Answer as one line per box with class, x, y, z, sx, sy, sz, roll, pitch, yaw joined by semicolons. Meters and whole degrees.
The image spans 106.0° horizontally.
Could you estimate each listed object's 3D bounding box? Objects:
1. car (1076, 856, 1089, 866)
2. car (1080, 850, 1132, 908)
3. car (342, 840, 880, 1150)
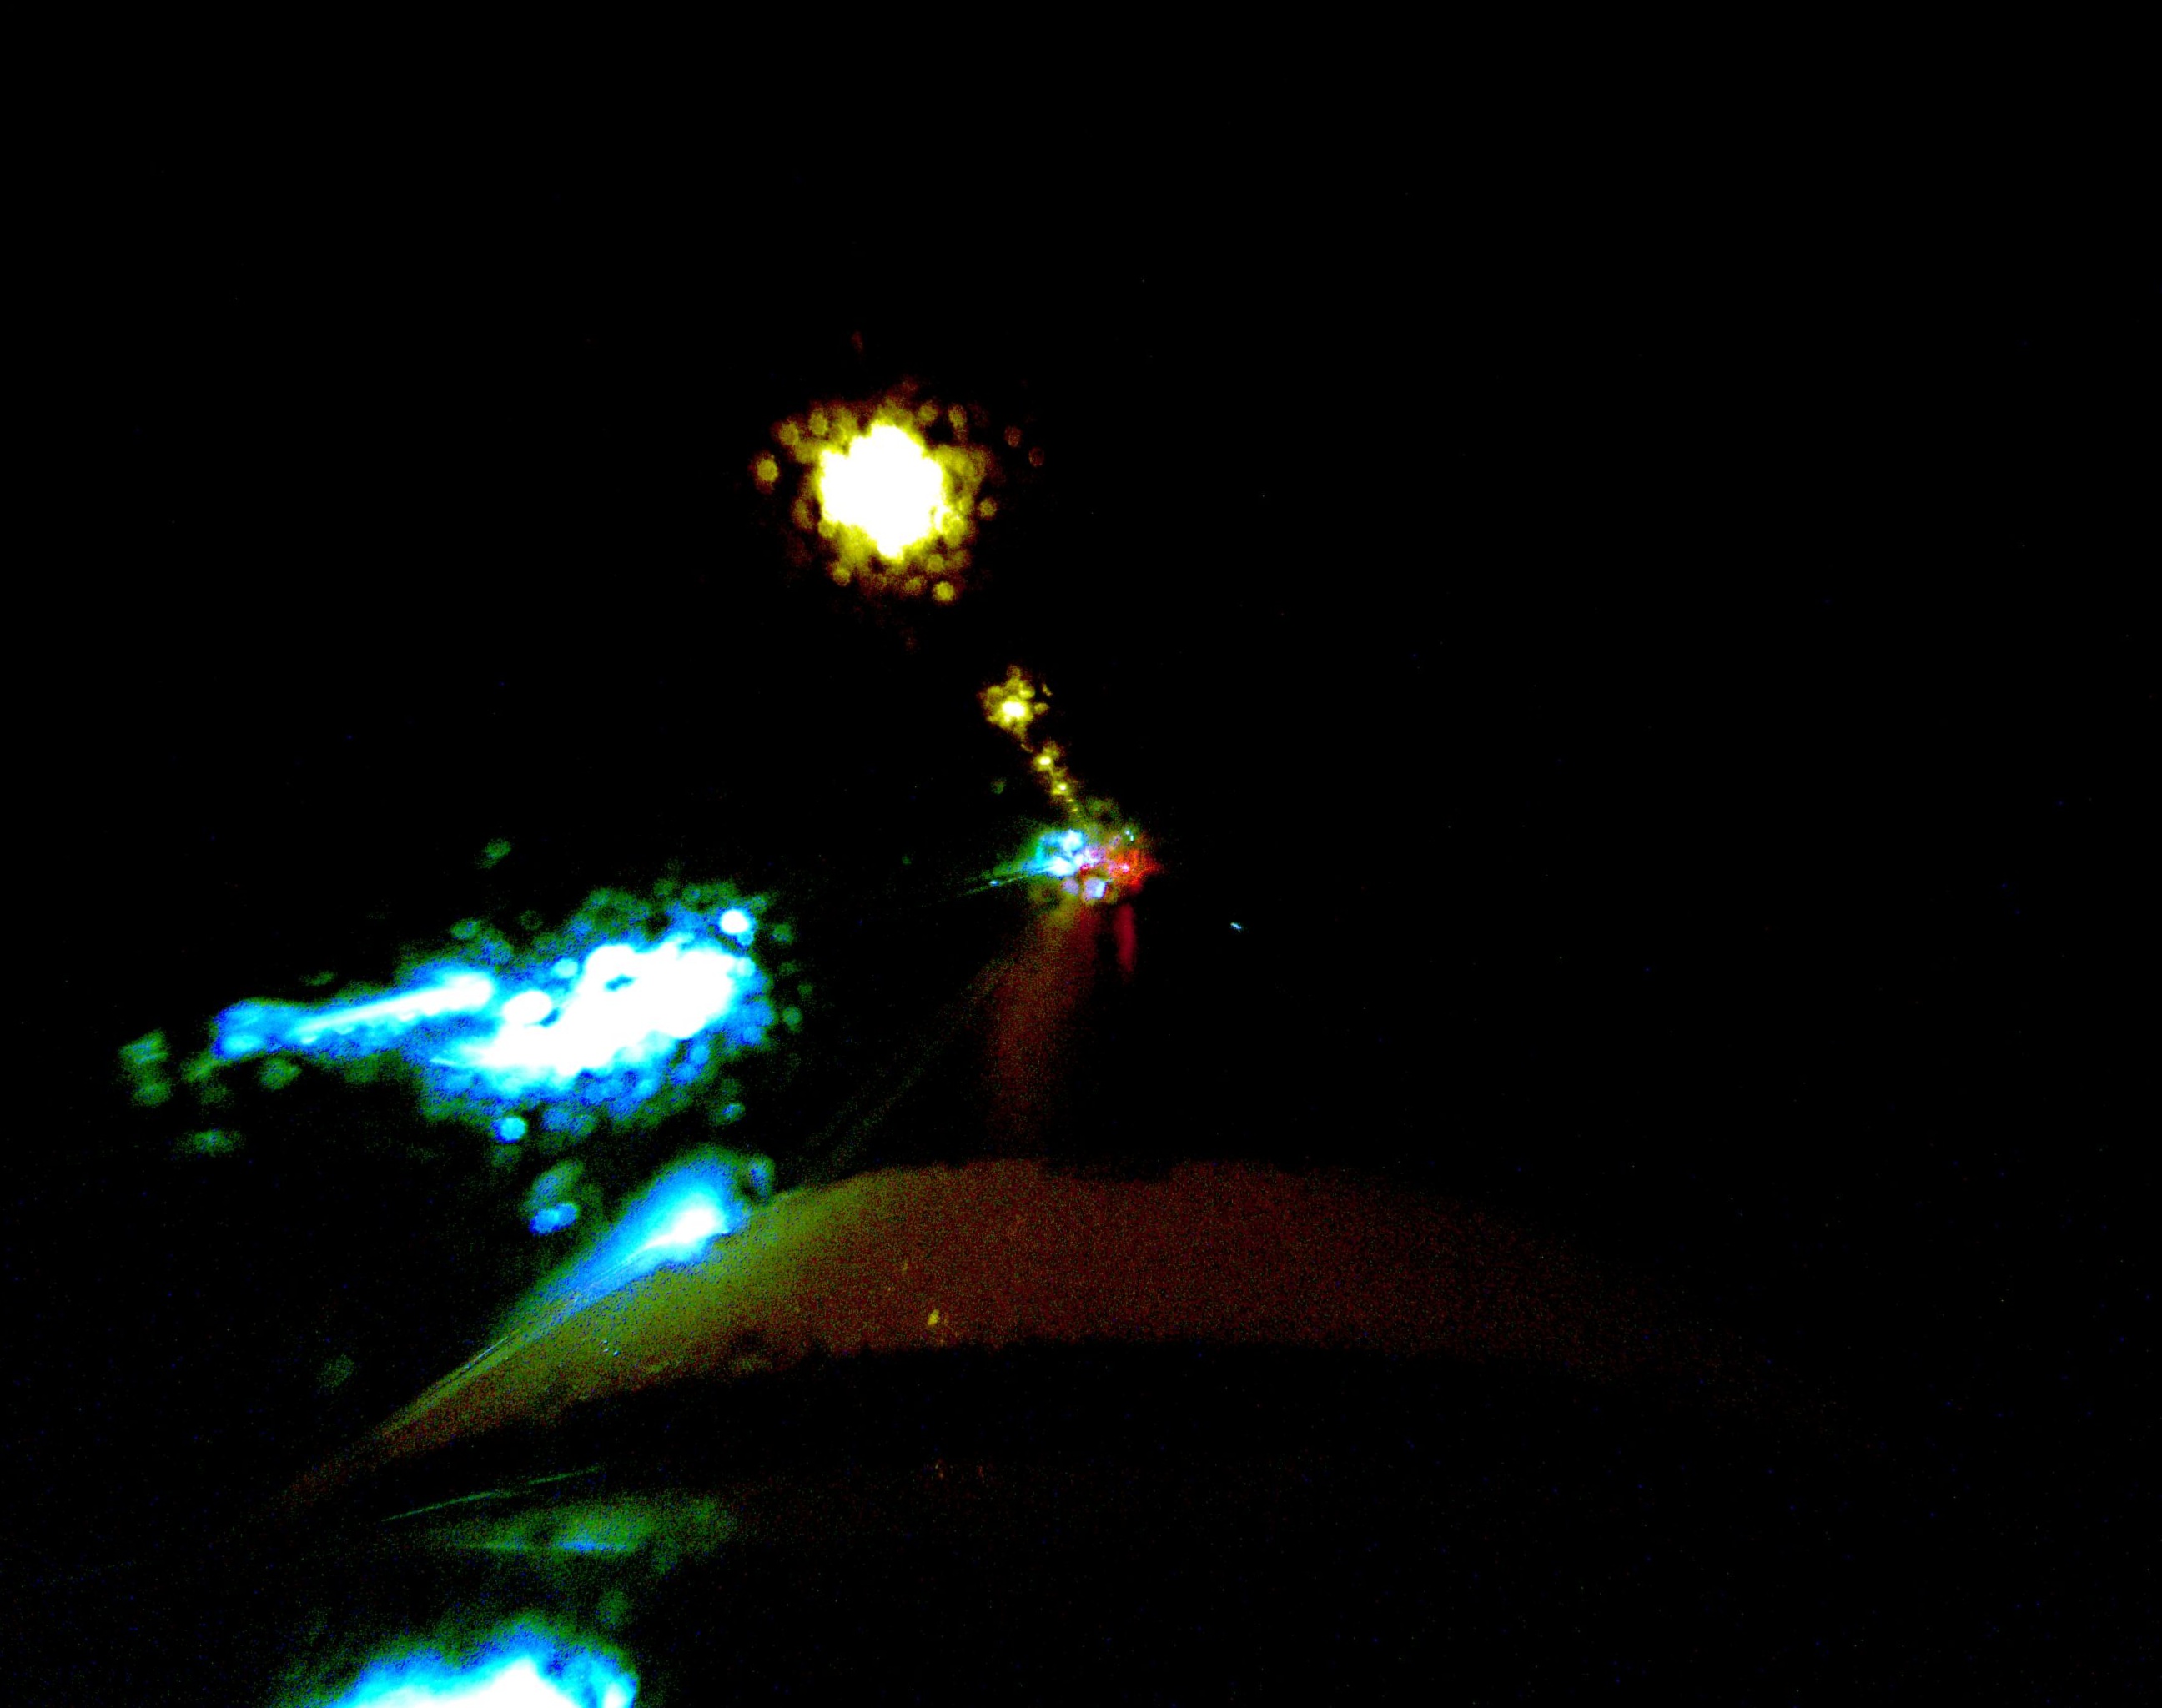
car;0.221;1.152;130.998;1.772;1.408;4.291;-2;1;-2
car;0.901;0.799;28.362;1.629;1.757;4.148;-2;1;2
car;-3.031;0.727;6.429;1.629;1.602;4.148;-2;1;2
